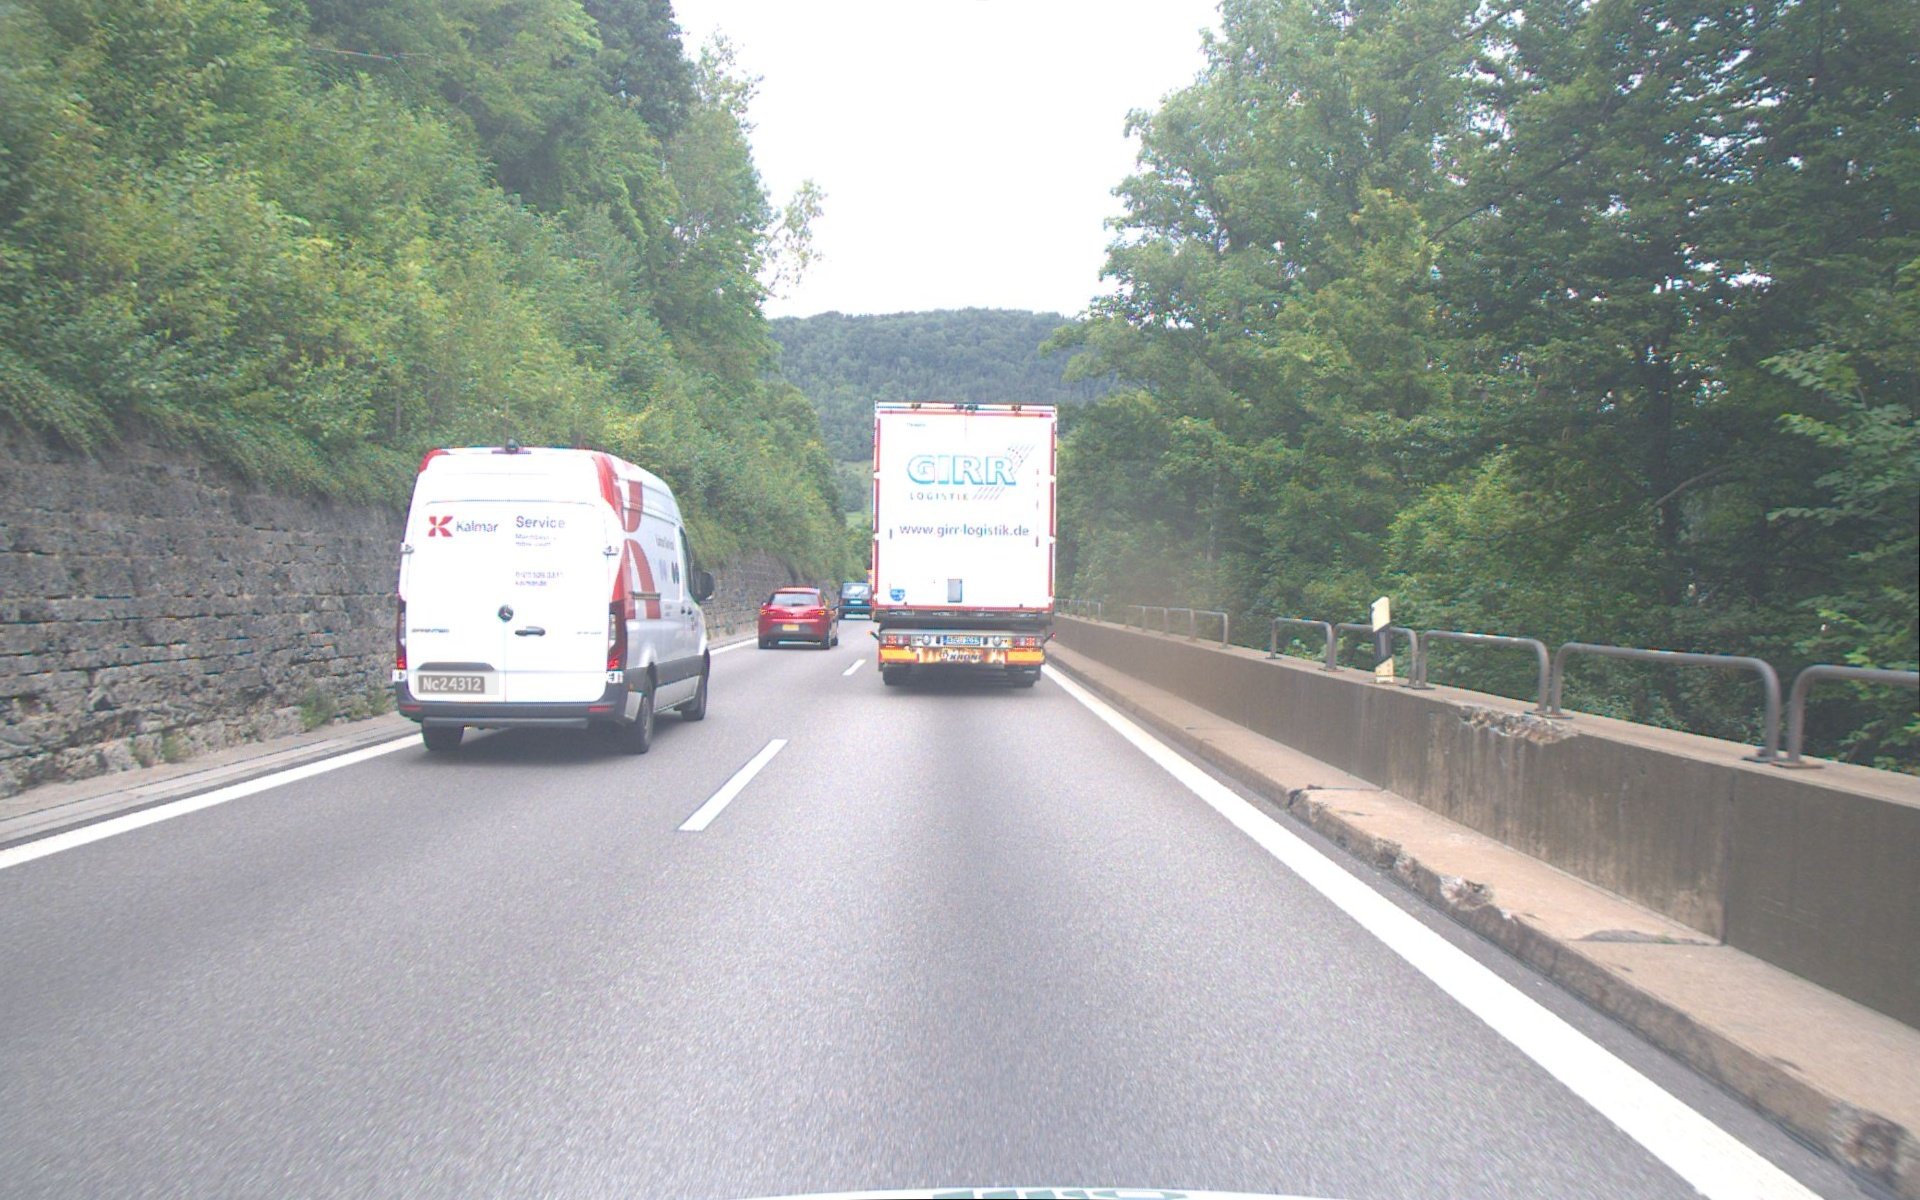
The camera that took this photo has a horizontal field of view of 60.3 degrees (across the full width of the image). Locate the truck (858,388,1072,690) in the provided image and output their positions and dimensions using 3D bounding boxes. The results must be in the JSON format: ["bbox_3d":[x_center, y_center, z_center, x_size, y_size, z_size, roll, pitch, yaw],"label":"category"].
[{"bbox_3d":[0.074,-0.835,26.758,2.849,4.030,9.278,0,0,0],"label":"truck"}]

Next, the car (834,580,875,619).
[{"bbox_3d":[-4.733,-0.021,74.530,1.635,1.667,4.067,0,0,-1],"label":"car"}]

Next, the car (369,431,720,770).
[{"bbox_3d":[-3.680,-0.001,15.998,1.985,2.630,6.272,0,0,-2],"label":"car"}]

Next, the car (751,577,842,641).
[{"bbox_3d":[-3.930,0.206,40.423,1.730,1.485,4.411,0,0,1],"label":"car"}]
